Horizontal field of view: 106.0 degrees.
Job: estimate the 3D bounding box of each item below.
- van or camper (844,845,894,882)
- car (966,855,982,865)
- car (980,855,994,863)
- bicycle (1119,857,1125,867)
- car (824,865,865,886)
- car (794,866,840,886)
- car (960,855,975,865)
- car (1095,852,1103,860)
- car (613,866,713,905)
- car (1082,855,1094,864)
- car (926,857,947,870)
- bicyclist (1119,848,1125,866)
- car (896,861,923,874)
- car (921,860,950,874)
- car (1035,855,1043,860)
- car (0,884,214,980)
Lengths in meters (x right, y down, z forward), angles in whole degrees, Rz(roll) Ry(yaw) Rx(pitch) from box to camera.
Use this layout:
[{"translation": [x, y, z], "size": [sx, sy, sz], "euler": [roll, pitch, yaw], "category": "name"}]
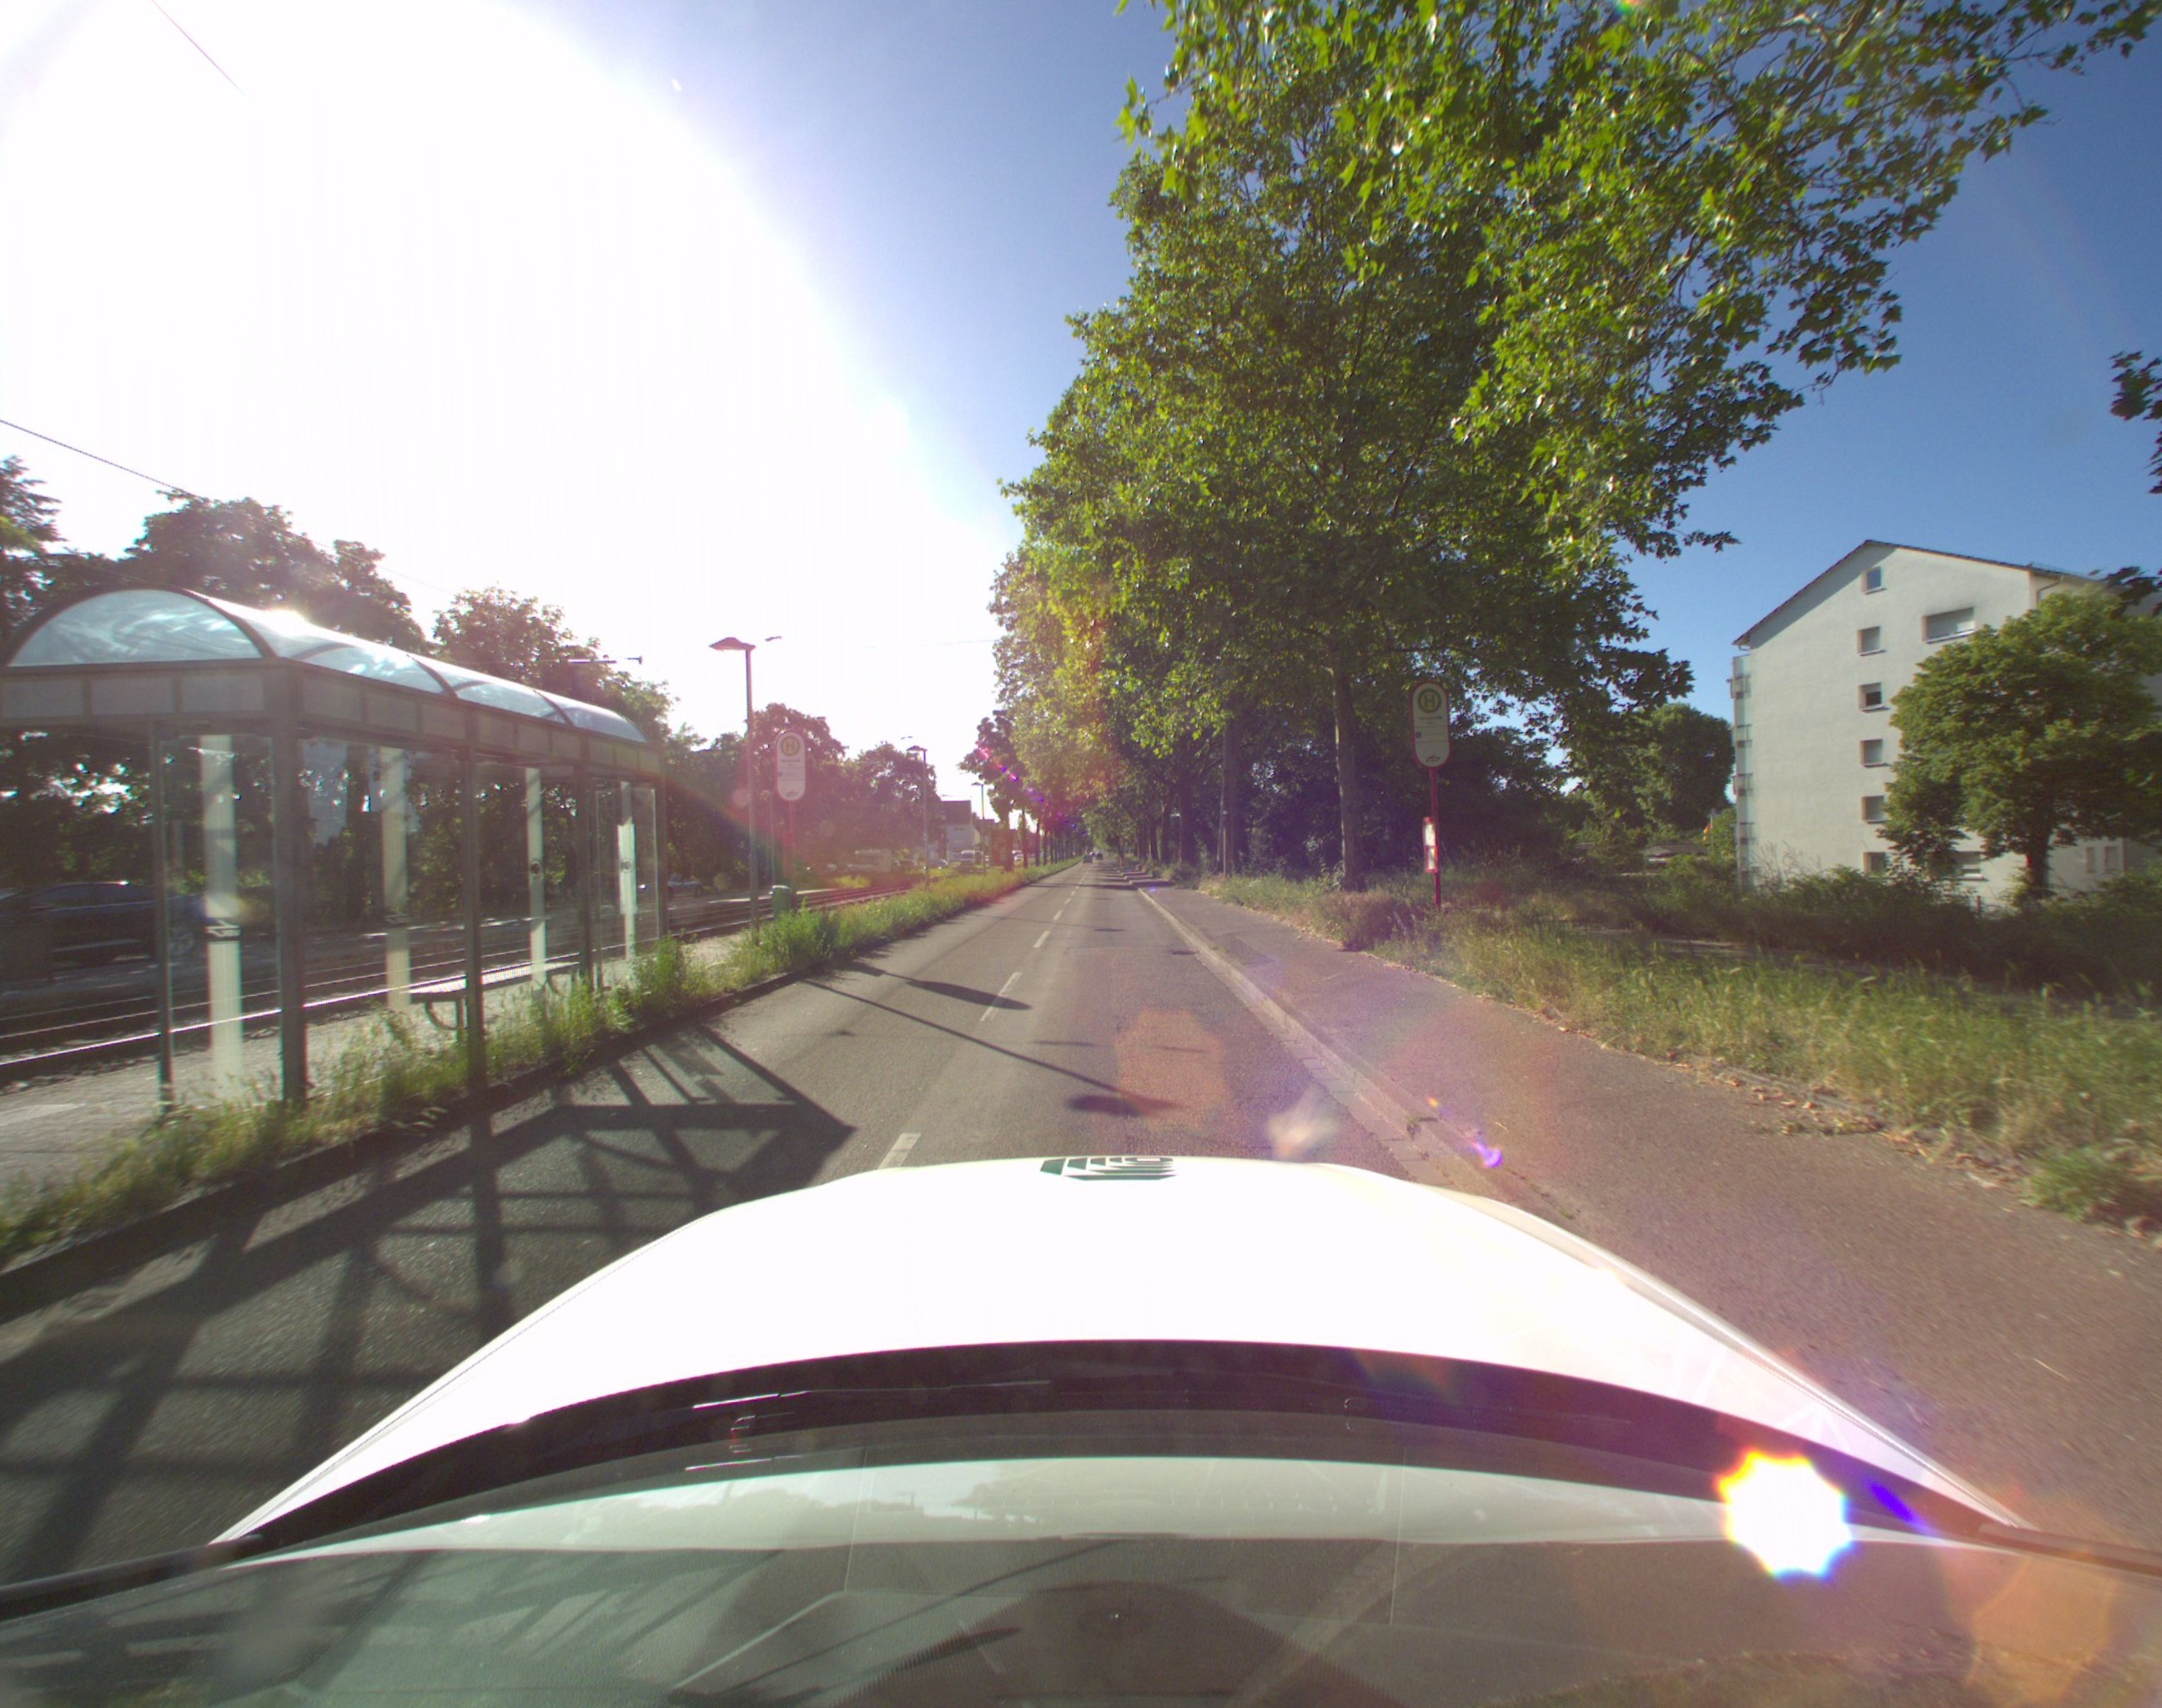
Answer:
[{"translation": [-19.346, 0.799, 74.797], "size": [2.580, 3.106, 6.790], "euler": [-2, 0, 1], "category": "van or camper"}, {"translation": [-18.241, 1.062, 138.777], "size": [1.913, 1.627, 4.003], "euler": [-2, 0, 3], "category": "car"}, {"translation": [-17.536, 0.875, 152.811], "size": [1.913, 1.438, 4.003], "euler": [-2, 0, 3], "category": "car"}, {"translation": [4.280, 0.839, 84.503], "size": [0.534, 1.066, 1.433], "euler": [-2, 0, -1], "category": "bicycle"}, {"translation": [-19.639, 1.757, 67.760], "size": [1.912, 1.562, 4.004], "euler": [-2, 0, 3], "category": "car"}, {"translation": [-20.050, 1.644, 61.987], "size": [1.913, 1.266, 4.003], "euler": [-2, 0, 3], "category": "car"}, {"translation": [-18.243, 0.961, 131.164], "size": [1.737, 1.496, 3.594], "euler": [-2, 0, 3], "category": "car"}, {"translation": [4.088, 0.397, 181.032], "size": [1.744, 1.604, 3.751], "euler": [-1, 0, 1], "category": "car"}, {"translation": [-18.491, 1.350, 36.272], "size": [1.986, 1.469, 4.378], "euler": [-2, 0, 2], "category": "car"}, {"translation": [1.121, 0.867, 135.257], "size": [1.860, 1.486, 3.556], "euler": [-1, 0, 1], "category": "car"}, {"translation": [-19.044, 1.191, 107.563], "size": [1.913, 1.577, 4.003], "euler": [-2, 0, 3], "category": "car"}, {"translation": [4.260, 0.299, 84.544], "size": [0.532, 1.769, 0.713], "euler": [-2, 0, -1], "category": "bicyclist"}, {"translation": [-18.611, 1.449, 88.689], "size": [1.914, 1.266, 4.001], "euler": [-2, 0, 1], "category": "car"}, {"translation": [-14.572, 1.301, 81.704], "size": [1.913, 1.266, 4.003], "euler": [-2, 0, 3], "category": "car"}, {"translation": [-11.187, 0.858, 216.962], "size": [1.914, 1.266, 4.000], "euler": [-2, 0, 1], "category": "car"}, {"translation": [-18.872, 1.386, 14.564], "size": [1.987, 1.469, 4.376], "euler": [-2, 0, 0], "category": "car"}]
